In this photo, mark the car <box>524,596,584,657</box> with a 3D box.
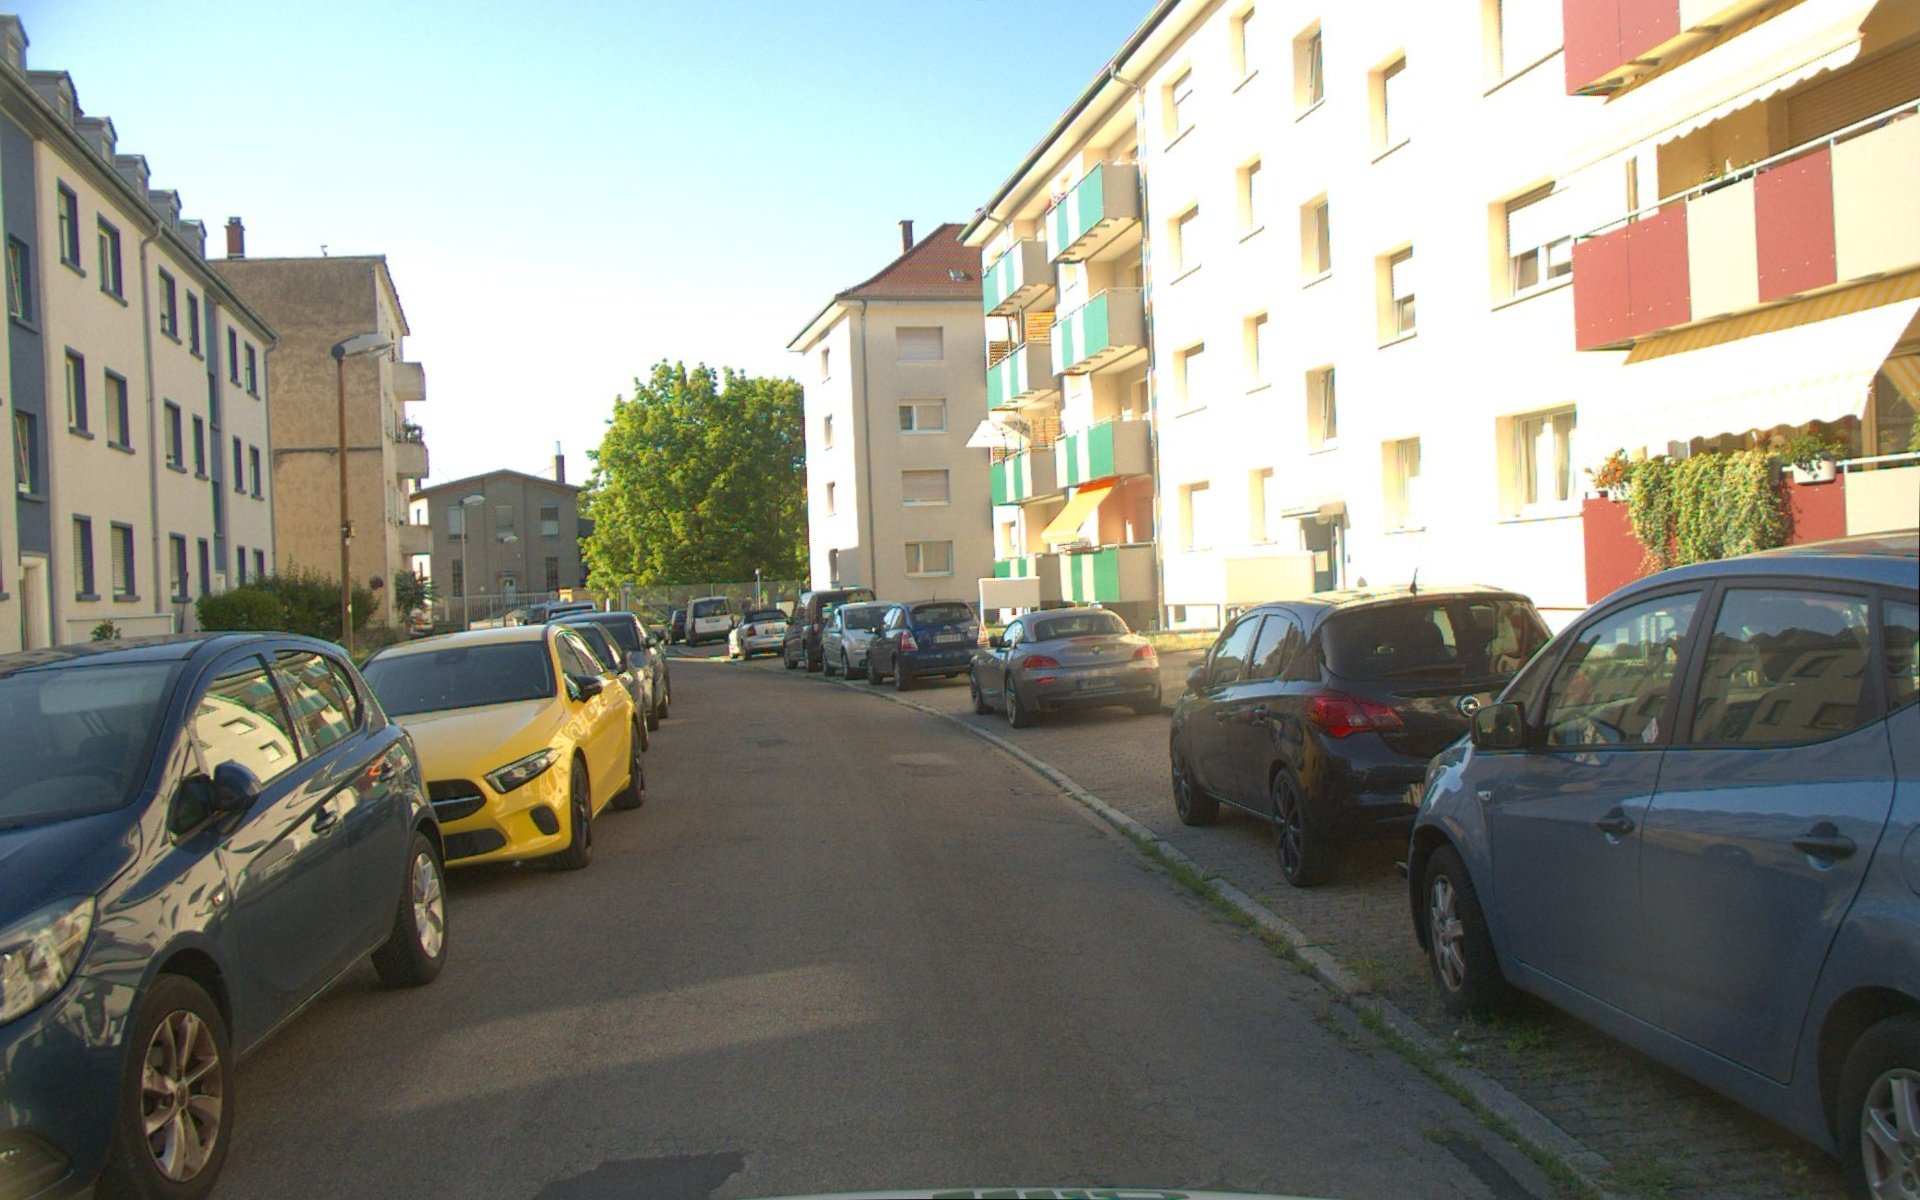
[{"bbox_3d":[-15.300,0.979,62.210,1.962,2.048,4.435,-5,1,-15],"label":"car"}]

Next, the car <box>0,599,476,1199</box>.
[{"bbox_3d":[-2.817,0.833,5.156,1.661,1.469,4.016,-4,1,-5],"label":"car"}]

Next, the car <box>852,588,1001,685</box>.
[{"bbox_3d":[-0.683,0.616,29.603,1.708,1.456,4.341,-5,1,-13],"label":"car"}]

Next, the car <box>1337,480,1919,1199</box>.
[{"bbox_3d":[2.620,0.552,4.815,1.731,1.664,4.037,-4,0,-5],"label":"car"}]

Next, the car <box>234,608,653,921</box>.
[{"bbox_3d":[-3.083,0.866,10.742,1.661,1.413,4.152,-4,1,-5],"label":"car"}]

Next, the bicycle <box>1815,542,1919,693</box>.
[{"bbox_3d":[7.649,0.128,13.239,0.400,1.170,1.759,-5,1,-9],"label":"bicycle"}]

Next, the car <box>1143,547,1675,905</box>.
[{"bbox_3d":[2.384,0.580,9.866,1.702,1.534,3.881,-6,1,-5],"label":"car"}]

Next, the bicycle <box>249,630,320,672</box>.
[{"bbox_3d":[-18.076,1.354,44.297,1.619,0.952,0.546,-5,1,-14],"label":"bicycle"}]

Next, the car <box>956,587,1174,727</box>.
[{"bbox_3d":[1.172,0.618,20.448,1.655,1.386,4.230,-5,1,-10],"label":"car"}]

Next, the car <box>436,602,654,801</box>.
[{"bbox_3d":[-3.879,0.848,16.063,1.540,1.489,4.253,-5,1,-9],"label":"car"}]

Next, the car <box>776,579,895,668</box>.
[{"bbox_3d":[-3.019,0.557,39.153,1.866,1.887,4.324,-3,0,-16],"label":"car"}]

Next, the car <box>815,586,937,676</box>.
[{"bbox_3d":[-1.797,0.605,34.145,1.654,1.615,3.997,-4,1,-14],"label":"car"}]

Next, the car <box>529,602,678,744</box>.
[{"bbox_3d":[-4.533,0.863,21.435,1.451,1.502,3.625,-7,1,-8],"label":"car"}]

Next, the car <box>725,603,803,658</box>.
[{"bbox_3d":[-5.880,0.880,49.284,1.689,1.387,4.039,-5,2,-15],"label":"car"}]

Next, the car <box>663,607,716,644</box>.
[{"bbox_3d":[-11.469,1.073,69.883,1.737,1.385,4.077,-5,1,-15],"label":"car"}]

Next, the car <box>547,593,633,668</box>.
[{"bbox_3d":[-8.393,0.667,37.312,1.632,1.468,3.855,-5,1,-15],"label":"car"}]

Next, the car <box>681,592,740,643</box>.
[{"bbox_3d":[-9.794,0.676,64.761,1.737,1.769,4.077,-5,1,-15],"label":"car"}]

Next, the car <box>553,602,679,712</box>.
[{"bbox_3d":[-5.514,0.854,26.850,1.713,1.455,4.587,-6,1,-10],"label":"car"}]

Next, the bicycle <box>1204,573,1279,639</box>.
[{"bbox_3d":[5.097,0.089,30.039,0.638,1.086,1.728,-7,3,-11],"label":"bicycle"}]

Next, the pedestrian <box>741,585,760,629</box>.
[{"bbox_3d":[-9.033,0.311,71.448,0.642,1.847,0.613,-5,0,-6],"label":"pedestrian"}]

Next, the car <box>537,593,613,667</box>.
[{"bbox_3d":[-11.018,0.849,47.175,1.866,1.887,4.177,-3,0,-15],"label":"car"}]

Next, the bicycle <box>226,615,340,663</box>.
[{"bbox_3d":[-17.097,0.962,41.822,2.631,1.150,0.768,-1,0,-22],"label":"bicycle"}]
